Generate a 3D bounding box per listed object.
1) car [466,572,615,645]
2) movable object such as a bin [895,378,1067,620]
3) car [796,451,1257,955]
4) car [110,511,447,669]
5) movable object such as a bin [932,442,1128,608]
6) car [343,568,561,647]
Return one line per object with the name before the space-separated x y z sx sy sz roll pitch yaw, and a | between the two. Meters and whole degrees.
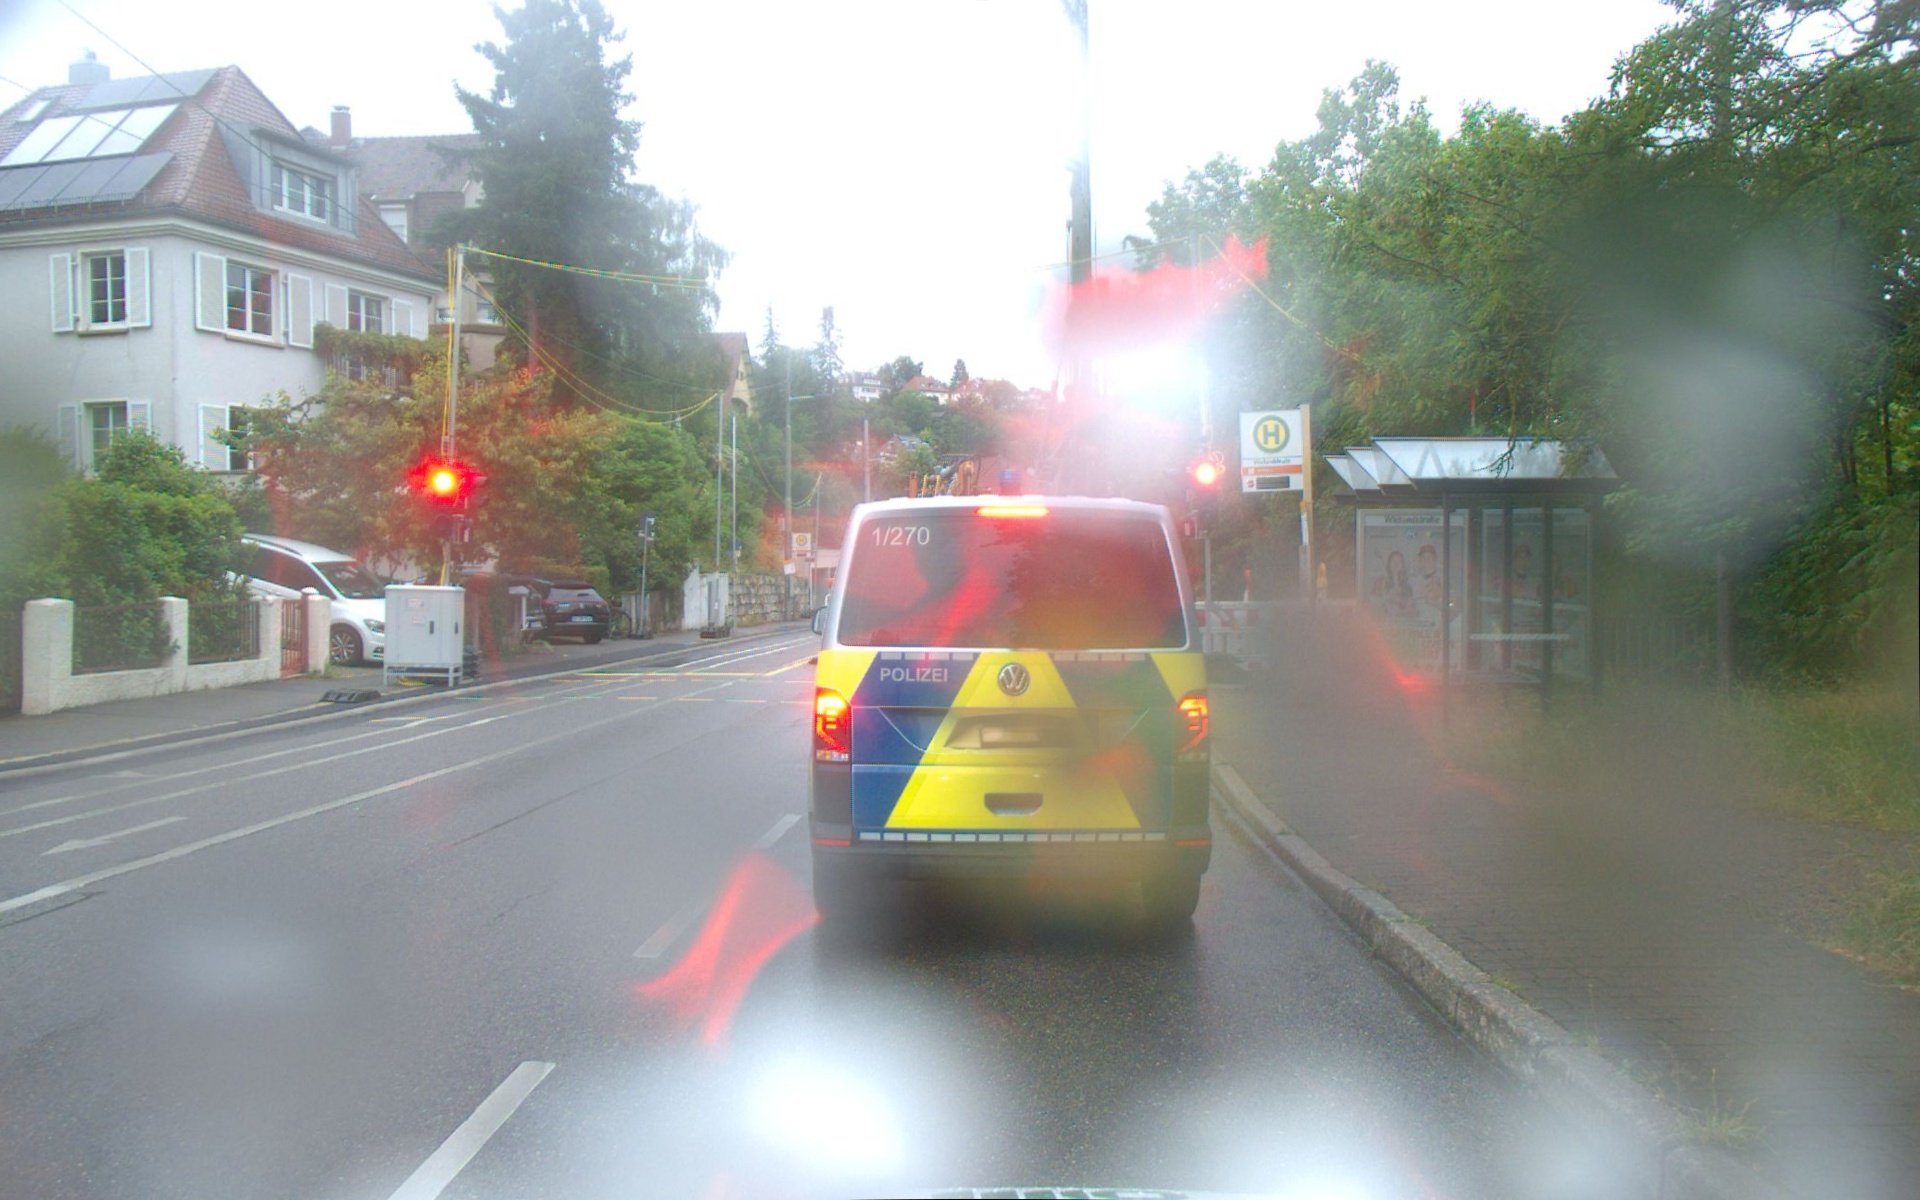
car | -9.581 0.175 37.585 1.769 1.552 3.943 1 0 -39
movable object such as a bin | 0.520 -1.837 31.622 2.817 4.243 4.491 -1 1 6
car | 0.246 0.435 9.036 1.869 2.046 4.438 1 0 -1
car | -11.307 -0.207 27.512 4.865 1.642 1.865 11 4 13
movable object such as a bin | 2.488 -2.374 55.914 3.615 5.155 7.147 -1 -1 31
car | -10.656 0.151 34.808 3.902 1.552 1.942 1 0 12
